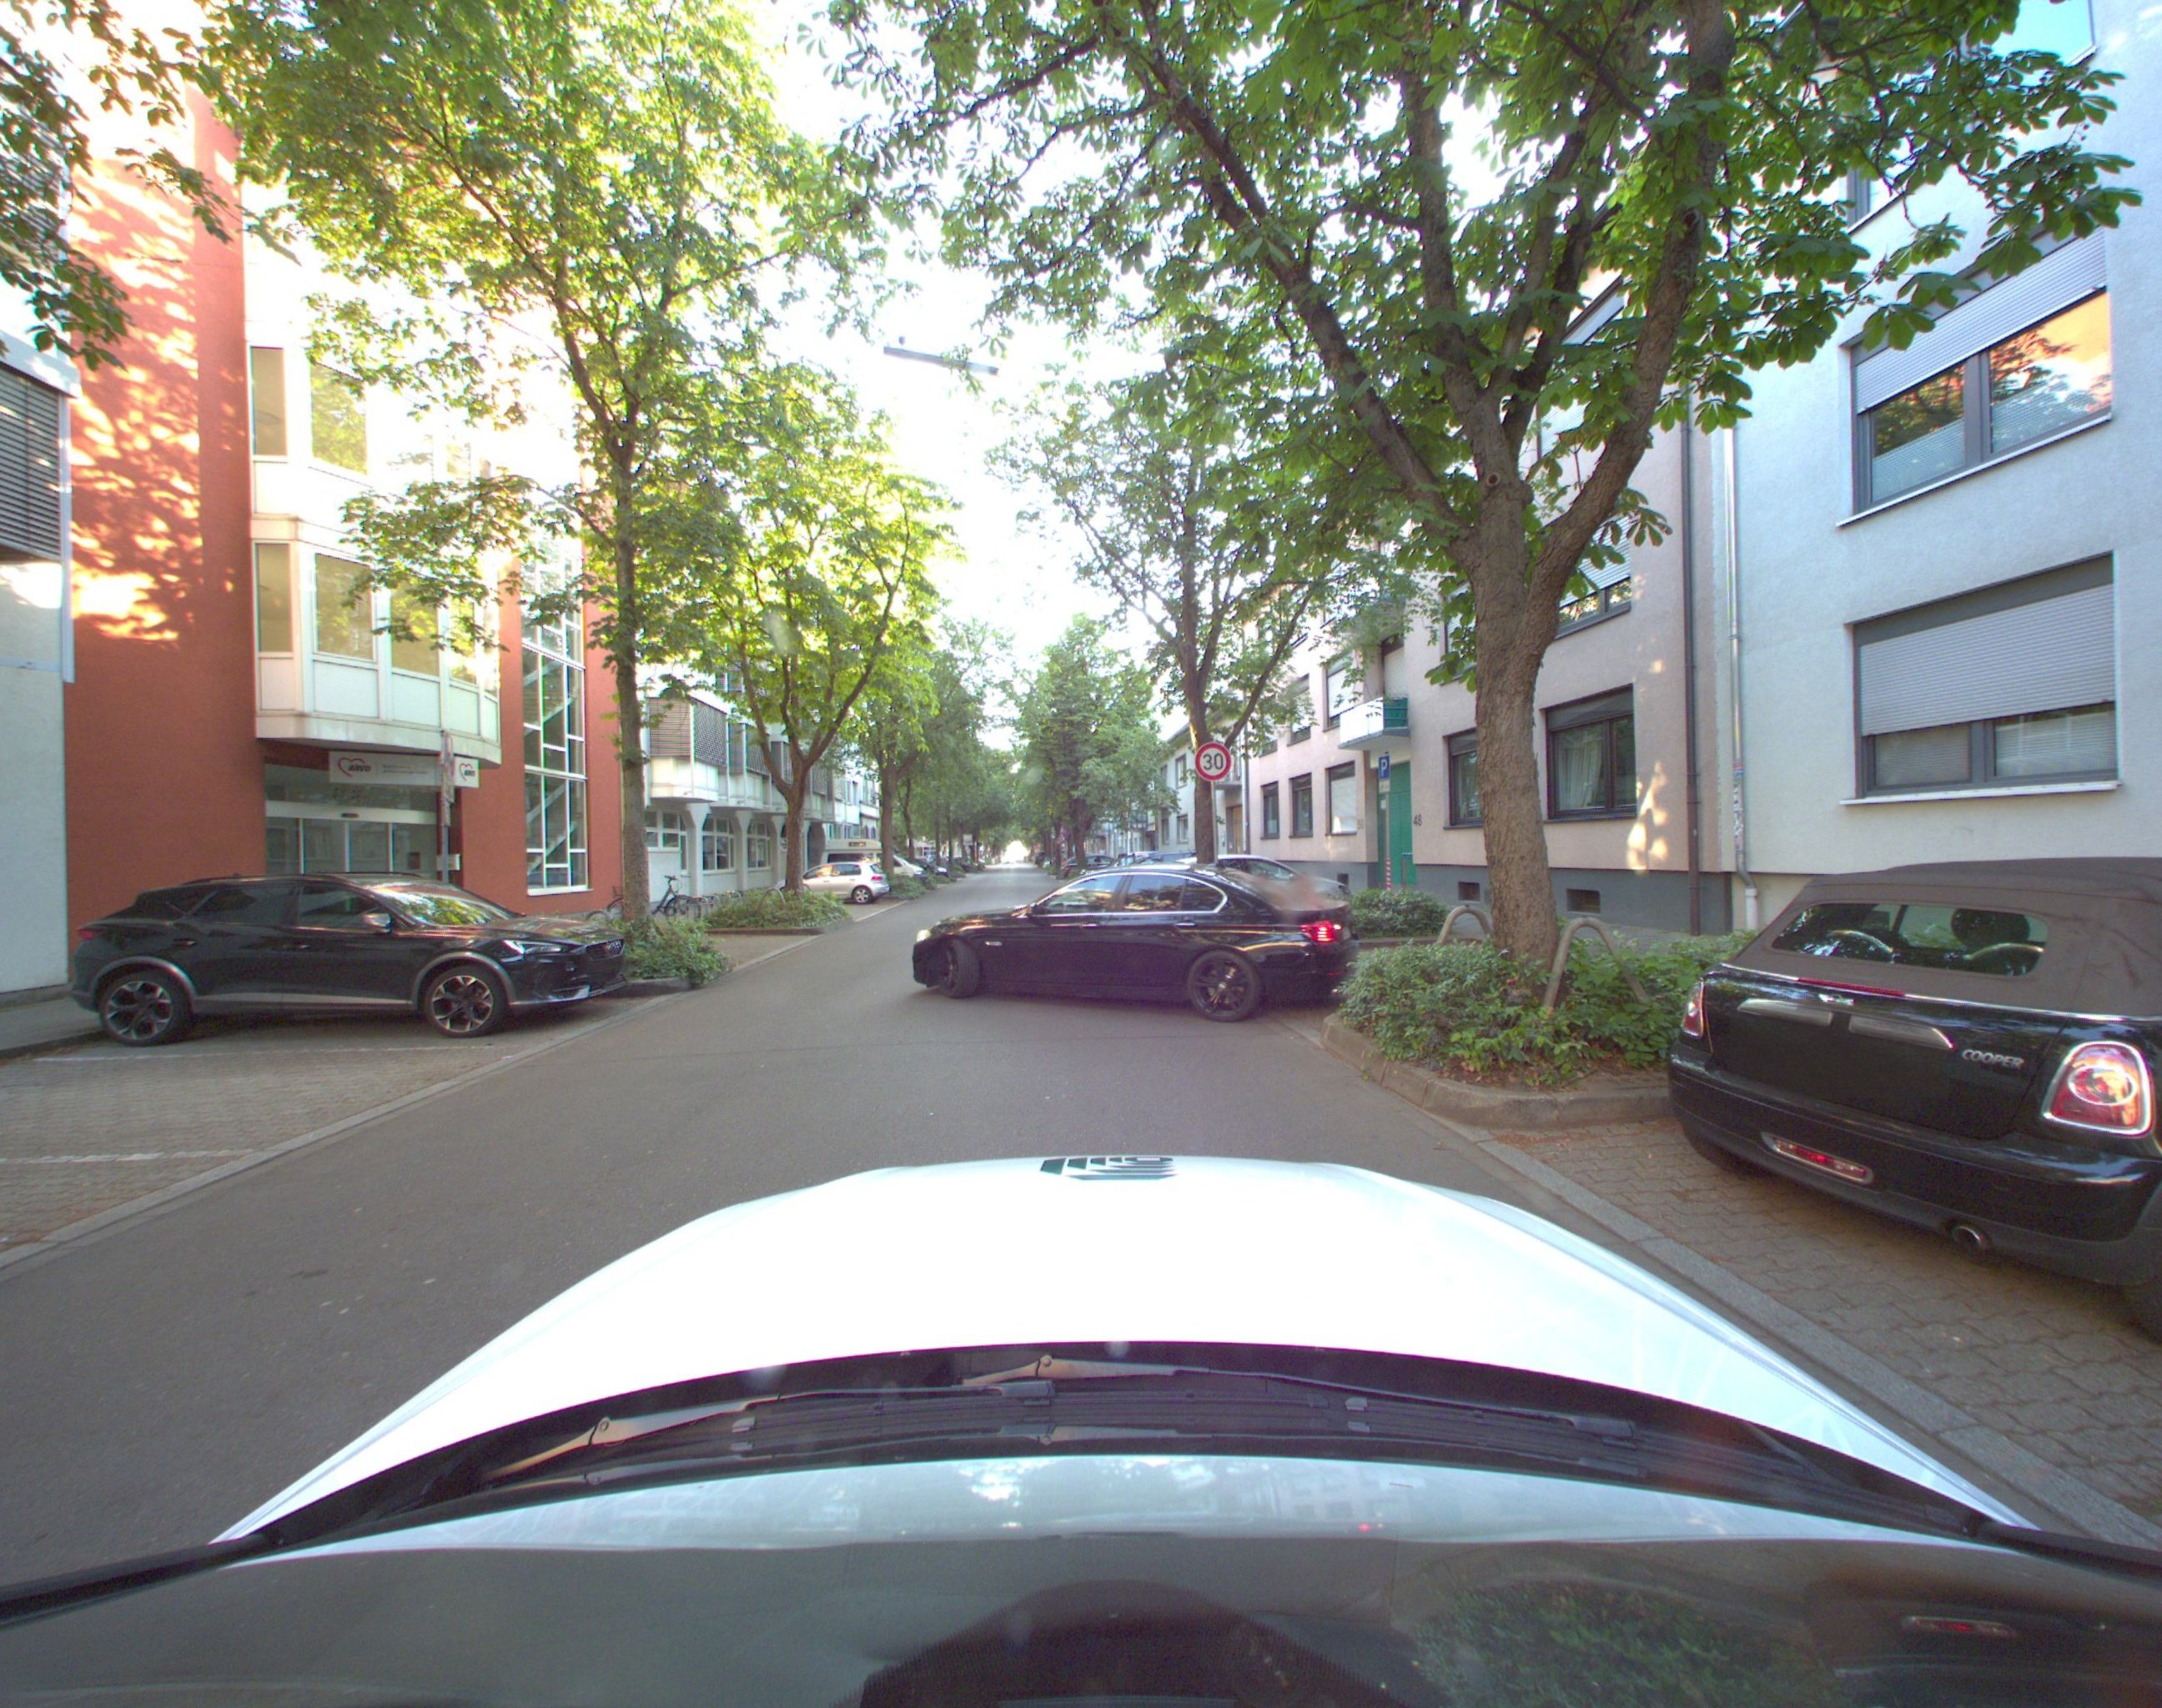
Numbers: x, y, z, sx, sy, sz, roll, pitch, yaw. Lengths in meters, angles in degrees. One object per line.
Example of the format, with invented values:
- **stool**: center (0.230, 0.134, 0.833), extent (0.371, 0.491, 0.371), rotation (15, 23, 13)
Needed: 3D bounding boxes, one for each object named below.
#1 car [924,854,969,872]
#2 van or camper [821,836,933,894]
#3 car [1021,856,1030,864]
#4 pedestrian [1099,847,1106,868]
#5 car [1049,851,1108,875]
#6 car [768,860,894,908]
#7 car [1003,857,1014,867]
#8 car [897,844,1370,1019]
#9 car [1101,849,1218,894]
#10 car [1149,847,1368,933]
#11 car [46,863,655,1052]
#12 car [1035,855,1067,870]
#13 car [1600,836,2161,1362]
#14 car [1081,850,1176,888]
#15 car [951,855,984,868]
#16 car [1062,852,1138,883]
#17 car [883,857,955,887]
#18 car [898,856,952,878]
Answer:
- **car**: center (-12.591, 0.842, 76.648), extent (3.959, 1.619, 1.783), rotation (-2, 0, -4)
- **van or camper**: center (-9.290, 0.474, 37.422), extent (4.656, 2.478, 1.997), rotation (-1, 0, -5)
- **car**: center (-11.236, 1.167, 165.440), extent (1.819, 1.530, 3.995), rotation (-2, 0, -4)
- **pedestrian**: center (2.131, 0.353, 79.013), extent (0.587, 2.013, 0.669), rotation (-1, 0, -3)
- **car**: center (-0.171, 0.645, 56.991), extent (3.963, 1.527, 1.781), rotation (-2, 0, -6)
- **car**: center (-8.845, 1.030, 29.088), extent (3.960, 1.517, 1.783), rotation (-2, 0, -4)
- **car**: center (-12.546, 1.377, 140.630), extent (1.775, 1.562, 4.162), rotation (-1, 0, -4)
- **car**: center (0.500, 0.705, 8.774), extent (4.701, 1.480, 1.811), rotation (-1, 0, 26)
- **car**: center (2.813, 0.618, 29.765), extent (3.963, 1.476, 1.781), rotation (-2, 0, -7)
- **car**: center (3.440, 0.668, 16.122), extent (3.904, 1.476, 1.661), rotation (-2, 0, -7)
- **car**: center (-7.022, 0.925, 8.276), extent (4.347, 1.517, 1.782), rotation (-2, 0, -5)
- **car**: center (-3.721, 1.034, 101.057), extent (3.959, 1.684, 1.783), rotation (-2, 0, -4)
- **car**: center (4.348, 0.628, 3.272), extent (3.608, 1.363, 1.660), rotation (-2, 0, -8)
- **car**: center (2.079, 0.656, 36.245), extent (3.962, 1.527, 1.782), rotation (-2, 0, -5)
- **car**: center (-14.412, 0.947, 103.369), extent (3.959, 1.619, 1.783), rotation (-2, 0, -4)
- **car**: center (1.020, 0.731, 45.087), extent (3.962, 1.527, 1.782), rotation (-2, 0, -5)
- **car**: center (-9.591, 1.031, 48.425), extent (3.960, 1.619, 1.783), rotation (-2, 0, -4)
- **car**: center (-12.394, 1.053, 64.971), extent (3.959, 1.619, 1.783), rotation (-2, 0, -4)
